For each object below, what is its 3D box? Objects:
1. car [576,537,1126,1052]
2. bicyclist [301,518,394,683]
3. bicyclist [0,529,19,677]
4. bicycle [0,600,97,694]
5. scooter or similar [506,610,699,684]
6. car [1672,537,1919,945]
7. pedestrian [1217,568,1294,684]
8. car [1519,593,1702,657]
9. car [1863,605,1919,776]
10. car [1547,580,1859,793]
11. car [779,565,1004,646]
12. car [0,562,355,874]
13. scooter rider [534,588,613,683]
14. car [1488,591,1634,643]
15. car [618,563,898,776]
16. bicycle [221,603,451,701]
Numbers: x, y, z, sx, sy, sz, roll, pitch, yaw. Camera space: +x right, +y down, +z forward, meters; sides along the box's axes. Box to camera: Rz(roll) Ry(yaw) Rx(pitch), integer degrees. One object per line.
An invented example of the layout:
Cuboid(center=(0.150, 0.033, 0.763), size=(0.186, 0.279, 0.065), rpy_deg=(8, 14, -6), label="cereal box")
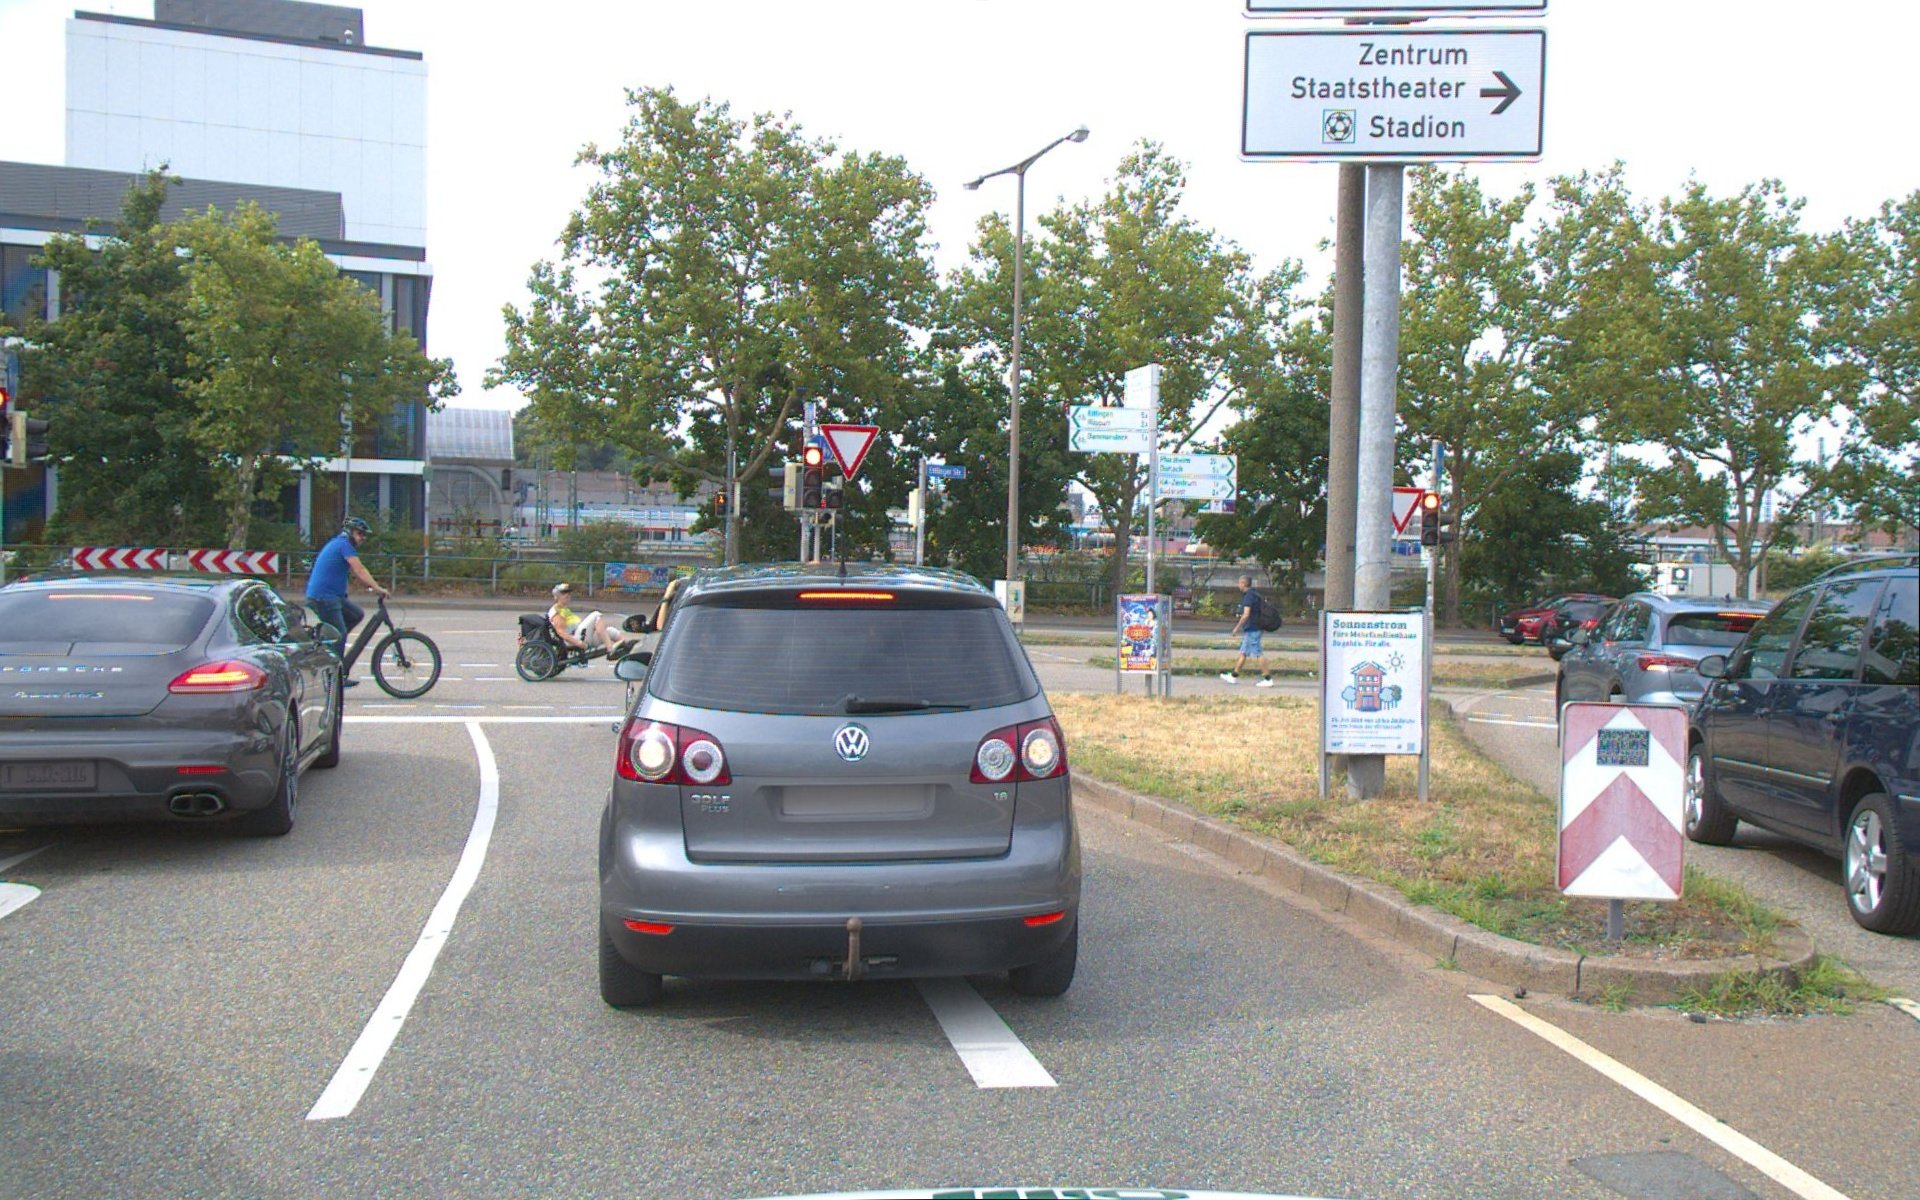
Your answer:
Cuboid(center=(-0.615, 0.583, 7.207), size=(1.709, 1.573, 4.074), rpy_deg=(1, 0, -9), label="car")
Cuboid(center=(-6.416, 0.000, 17.365), size=(0.867, 1.685, 0.807), rpy_deg=(1, 1, -19), label="bicyclist")
Cuboid(center=(-10.055, 0.016, 16.473), size=(1.098, 1.461, 0.644), rpy_deg=(0, 2, -22), label="bicyclist")
Cuboid(center=(-10.076, 0.460, 16.470), size=(2.547, 0.905, 0.700), rpy_deg=(1, 1, -22), label="bicycle")
Cuboid(center=(-4.518, 0.592, 21.060), size=(2.335, 0.864, 0.807), rpy_deg=(1, 1, -10), label="scooter or similar")
Cuboid(center=(5.256, 0.649, 8.678), size=(1.713, 1.754, 4.141), rpy_deg=(3, 0, 9), label="car")
Cuboid(center=(4.605, 0.393, 25.754), size=(1.025, 1.740, 0.854), rpy_deg=(2, 1, 17), label="pedestrian")
Cuboid(center=(15.034, 0.580, 38.224), size=(4.006, 1.391, 1.689), rpy_deg=(1, 1, -26), label="car")
Cuboid(center=(10.167, 0.931, 15.487), size=(1.713, 1.671, 4.141), rpy_deg=(3, 0, 10), label="car")
Cuboid(center=(6.728, 0.699, 15.437), size=(1.655, 1.613, 4.160), rpy_deg=(3, 0, 11), label="car")
Cuboid(center=(-1.319, 0.104, 31.711), size=(3.996, 1.476, 1.693), rpy_deg=(1, 1, -20), label="car")
Cuboid(center=(-4.855, 0.516, 10.108), size=(1.789, 1.438, 4.756), rpy_deg=(1, 1, -16), label="car")
Cuboid(center=(-4.898, 0.442, 21.000), size=(0.897, 1.157, 0.807), rpy_deg=(1, 1, -9), label="scooter rider")
Cuboid(center=(17.687, 0.497, 48.647), size=(3.894, 1.473, 1.692), rpy_deg=(1, 1, -21), label="car")
Cuboid(center=(-1.843, 0.478, 13.906), size=(1.713, 1.508, 4.064), rpy_deg=(1, 1, -16), label="car")
Cuboid(center=(-6.497, 0.531, 17.332), size=(2.195, 0.969, 0.807), rpy_deg=(1, 1, -20), label="bicycle")
